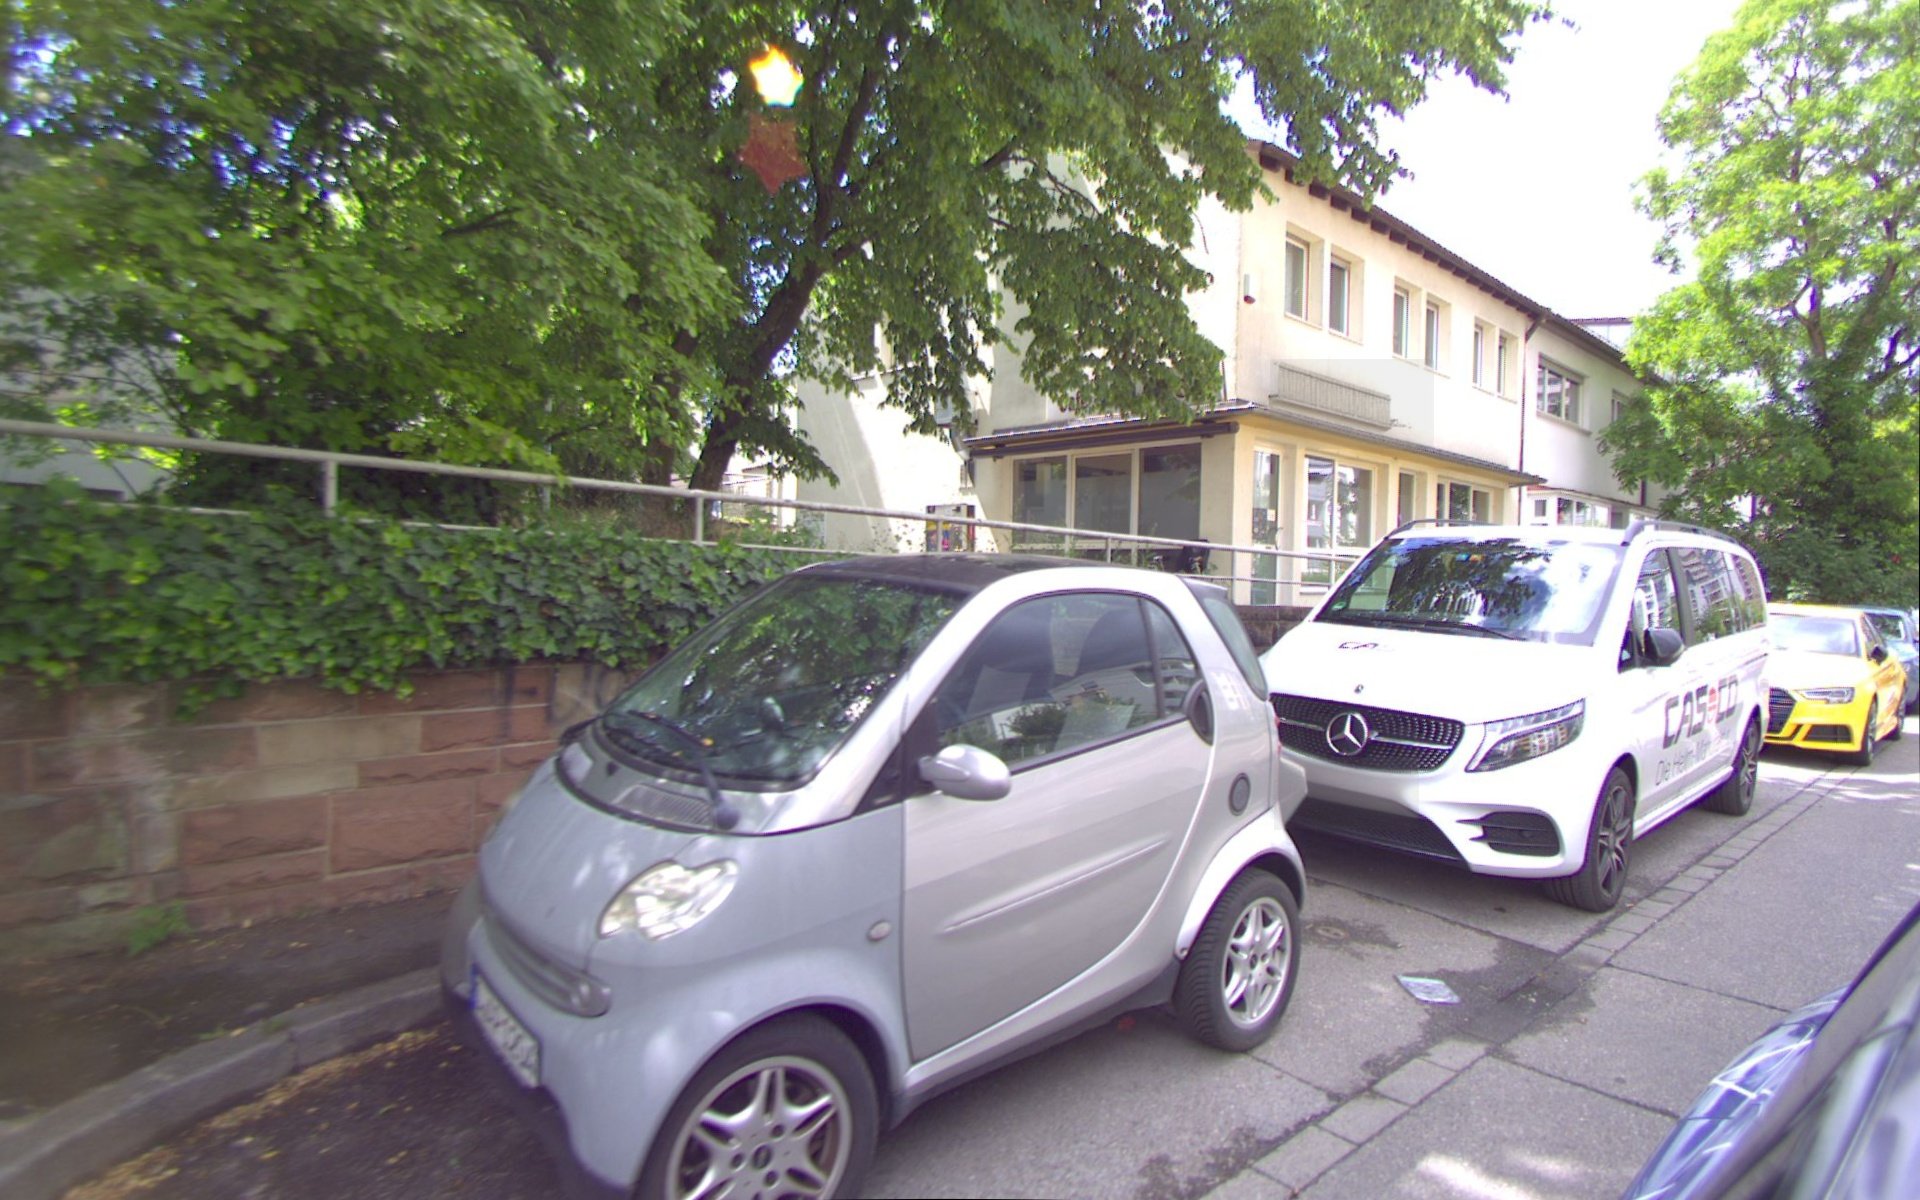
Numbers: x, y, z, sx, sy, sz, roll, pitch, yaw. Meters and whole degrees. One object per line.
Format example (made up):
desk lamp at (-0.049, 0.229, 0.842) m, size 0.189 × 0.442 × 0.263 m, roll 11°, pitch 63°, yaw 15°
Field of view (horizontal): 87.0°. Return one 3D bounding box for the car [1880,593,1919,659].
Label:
car at (24.196, 0.623, 24.994) m, size 4.172 × 1.524 × 1.836 m, roll 0°, pitch 2°, yaw -44°

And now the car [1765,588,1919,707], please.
car at (13.370, 0.594, 14.907) m, size 4.419 × 1.460 × 1.757 m, roll 0°, pitch 2°, yaw -44°

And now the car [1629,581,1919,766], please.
car at (8.602, 0.594, 10.454) m, size 4.266 × 1.460 × 1.758 m, roll 0°, pitch 3°, yaw -42°

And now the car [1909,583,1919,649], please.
car at (28.696, 0.474, 28.766) m, size 4.988 × 1.810 × 2.019 m, roll 0°, pitch 2°, yaw -41°

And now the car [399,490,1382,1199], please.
car at (-0.059, 0.542, 3.266) m, size 2.798 × 1.552 × 1.516 m, roll 0°, pitch 3°, yaw -42°

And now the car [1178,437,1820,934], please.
car at (3.916, 0.297, 6.653) m, size 5.647 × 1.983 × 1.917 m, roll 0°, pitch 2°, yaw -43°
